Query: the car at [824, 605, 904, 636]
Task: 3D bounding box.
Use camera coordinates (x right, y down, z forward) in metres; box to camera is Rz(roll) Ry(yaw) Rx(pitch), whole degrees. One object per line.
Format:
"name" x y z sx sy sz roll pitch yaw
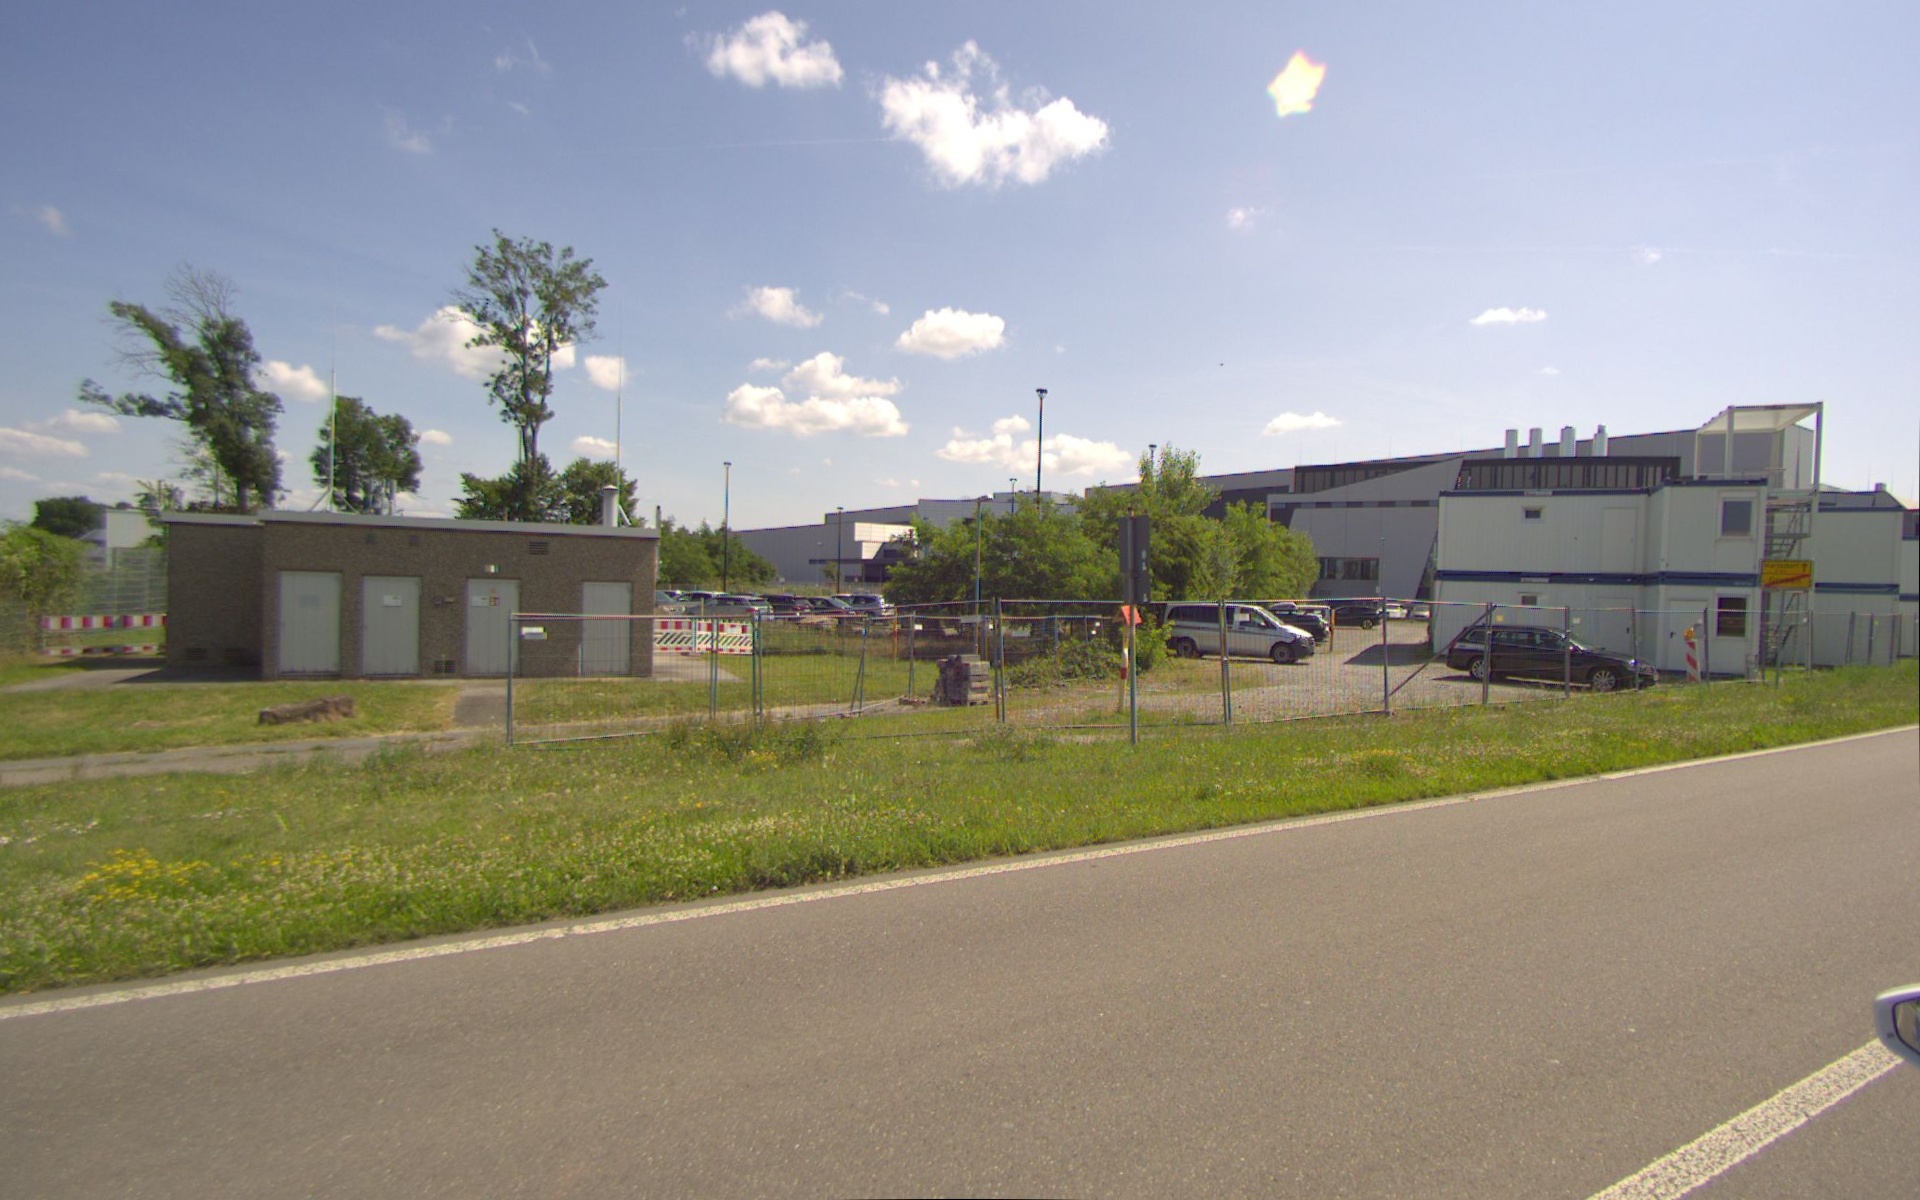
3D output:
"car" -5.271 1.096 55.128 3.925 1.574 1.998 1 -1 26

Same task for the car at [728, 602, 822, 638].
"car" -8.808 0.936 47.826 3.925 1.574 1.998 1 -1 26

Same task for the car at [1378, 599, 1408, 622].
"car" 38.333 0.893 88.787 1.964 1.892 4.306 2 1 29

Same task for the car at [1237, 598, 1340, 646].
"car" 15.212 0.984 46.512 4.233 1.974 1.998 2 1 26

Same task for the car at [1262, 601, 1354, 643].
"car" 17.682 1.095 51.192 4.227 1.892 2.001 2 1 15

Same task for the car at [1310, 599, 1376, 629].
"car" 26.745 0.951 70.284 4.229 1.892 2.000 2 1 20

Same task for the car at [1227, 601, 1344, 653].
"car" 13.229 1.052 40.832 4.233 1.892 1.998 2 1 26

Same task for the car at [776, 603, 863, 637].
"car" -7.096 1.007 50.761 3.925 1.574 1.998 1 -1 26

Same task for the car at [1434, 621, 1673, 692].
"car" 15.126 1.372 25.817 1.986 1.436 4.920 0 1 -44

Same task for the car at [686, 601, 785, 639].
"car" -10.082 0.877 45.049 3.925 1.574 1.998 1 -1 26

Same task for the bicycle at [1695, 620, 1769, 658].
"bicycle" 28.012 1.400 36.469 2.008 1.318 0.608 1 0 26

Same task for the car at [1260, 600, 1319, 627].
"car" 25.821 1.020 78.719 4.229 1.892 2.000 2 1 20

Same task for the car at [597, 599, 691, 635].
"car" -14.943 0.786 47.460 3.925 1.574 1.998 1 -1 26

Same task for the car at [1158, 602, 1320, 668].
"car" 9.373 1.105 33.804 4.927 1.892 1.998 2 1 26

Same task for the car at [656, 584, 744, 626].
"car" -13.352 0.271 51.617 3.922 2.040 2.000 1 0 21

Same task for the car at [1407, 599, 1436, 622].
"car" 40.360 0.917 87.833 1.964 1.892 4.306 2 1 29

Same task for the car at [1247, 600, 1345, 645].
"car" 16.279 1.058 48.677 4.233 1.974 1.998 2 1 26
